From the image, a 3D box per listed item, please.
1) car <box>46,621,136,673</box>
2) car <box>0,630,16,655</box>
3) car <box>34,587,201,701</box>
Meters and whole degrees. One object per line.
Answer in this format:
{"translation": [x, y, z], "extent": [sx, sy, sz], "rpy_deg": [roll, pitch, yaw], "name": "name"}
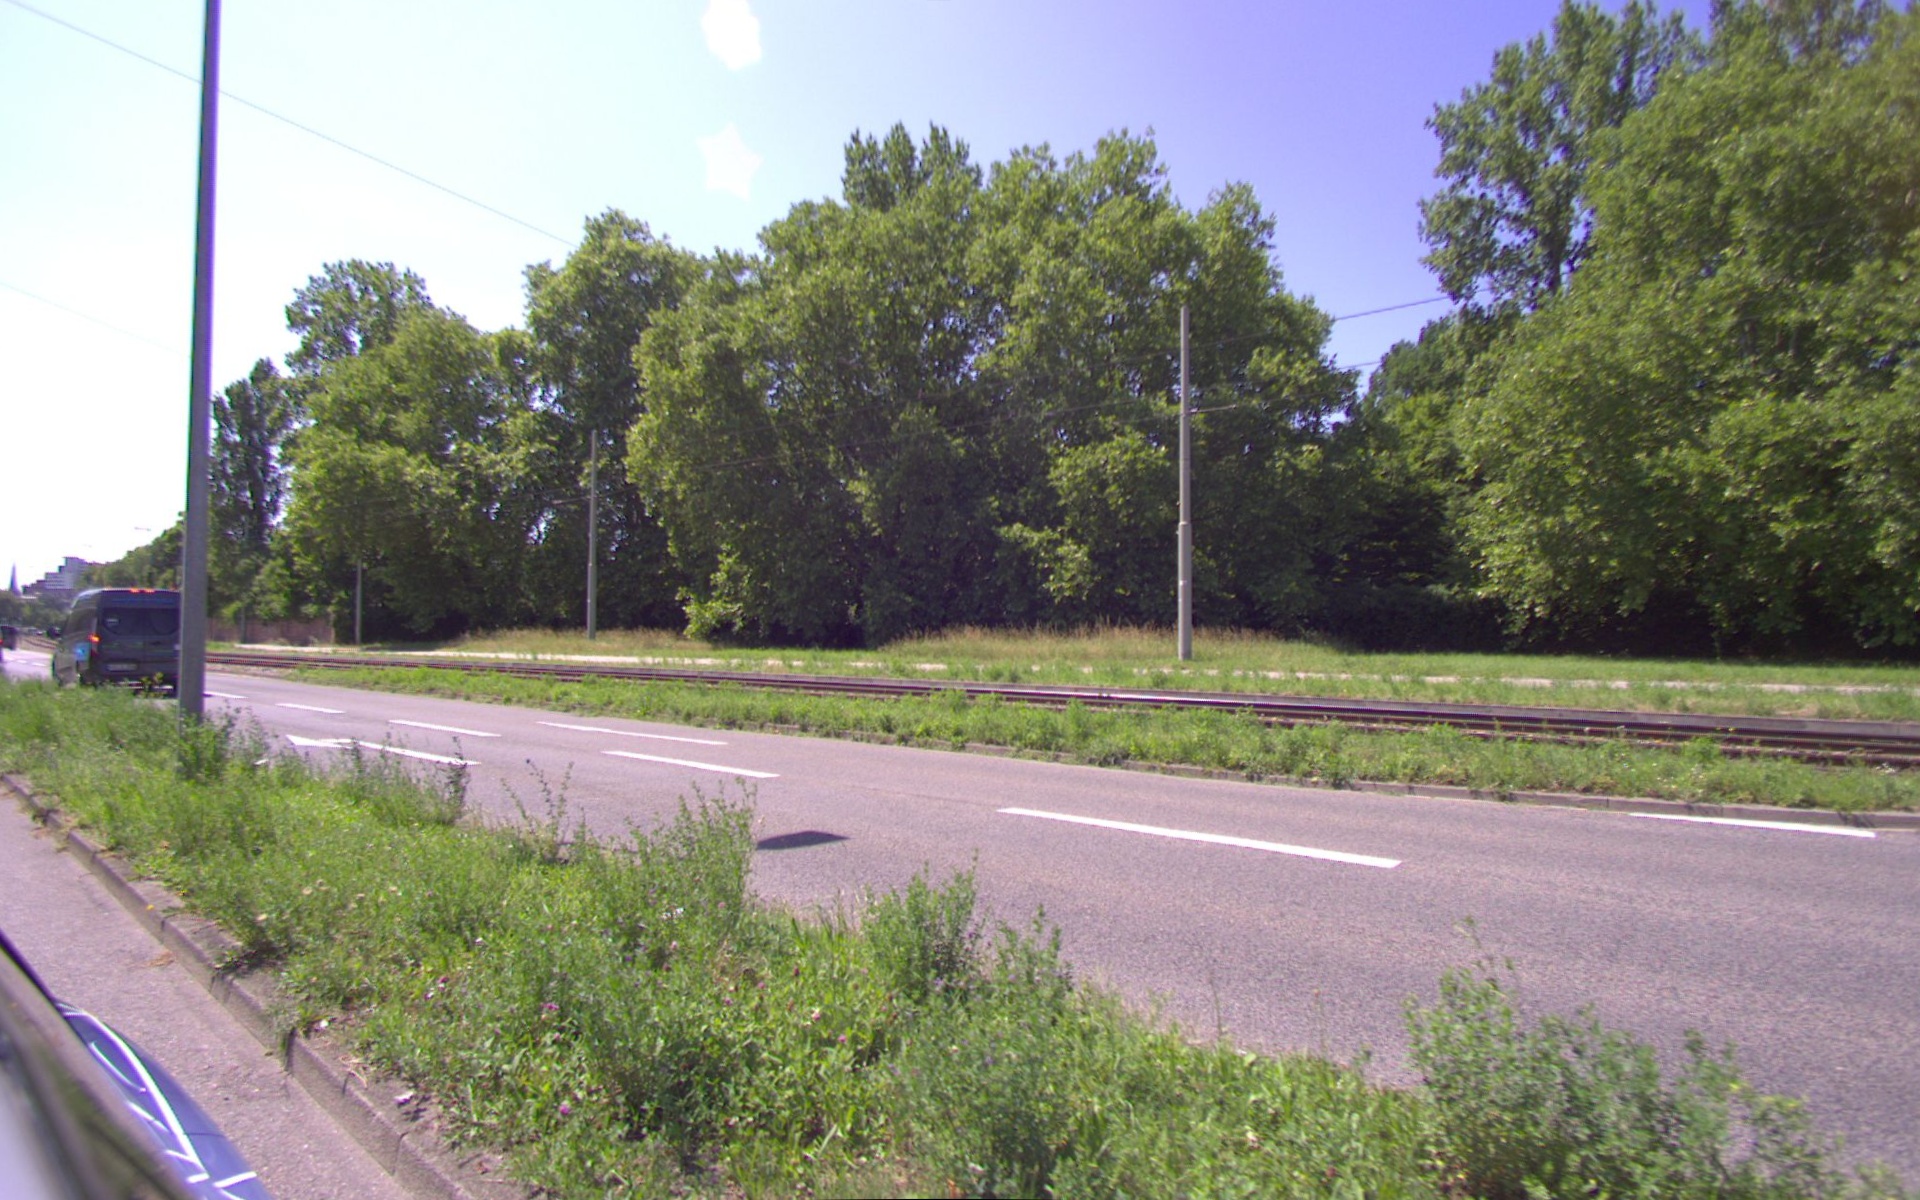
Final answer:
{"translation": [-36.258, 1.963, 42.166], "extent": [5.025, 2.029, 1.973], "rpy_deg": [-2, -4, 40], "name": "car"}
{"translation": [-70.776, 3.109, 74.245], "extent": [4.614, 1.815, 1.810], "rpy_deg": [-2, -4, 43], "name": "car"}
{"translation": [-19.703, 1.021, 23.578], "extent": [5.368, 2.384, 1.973], "rpy_deg": [-2, -3, 40], "name": "car"}
